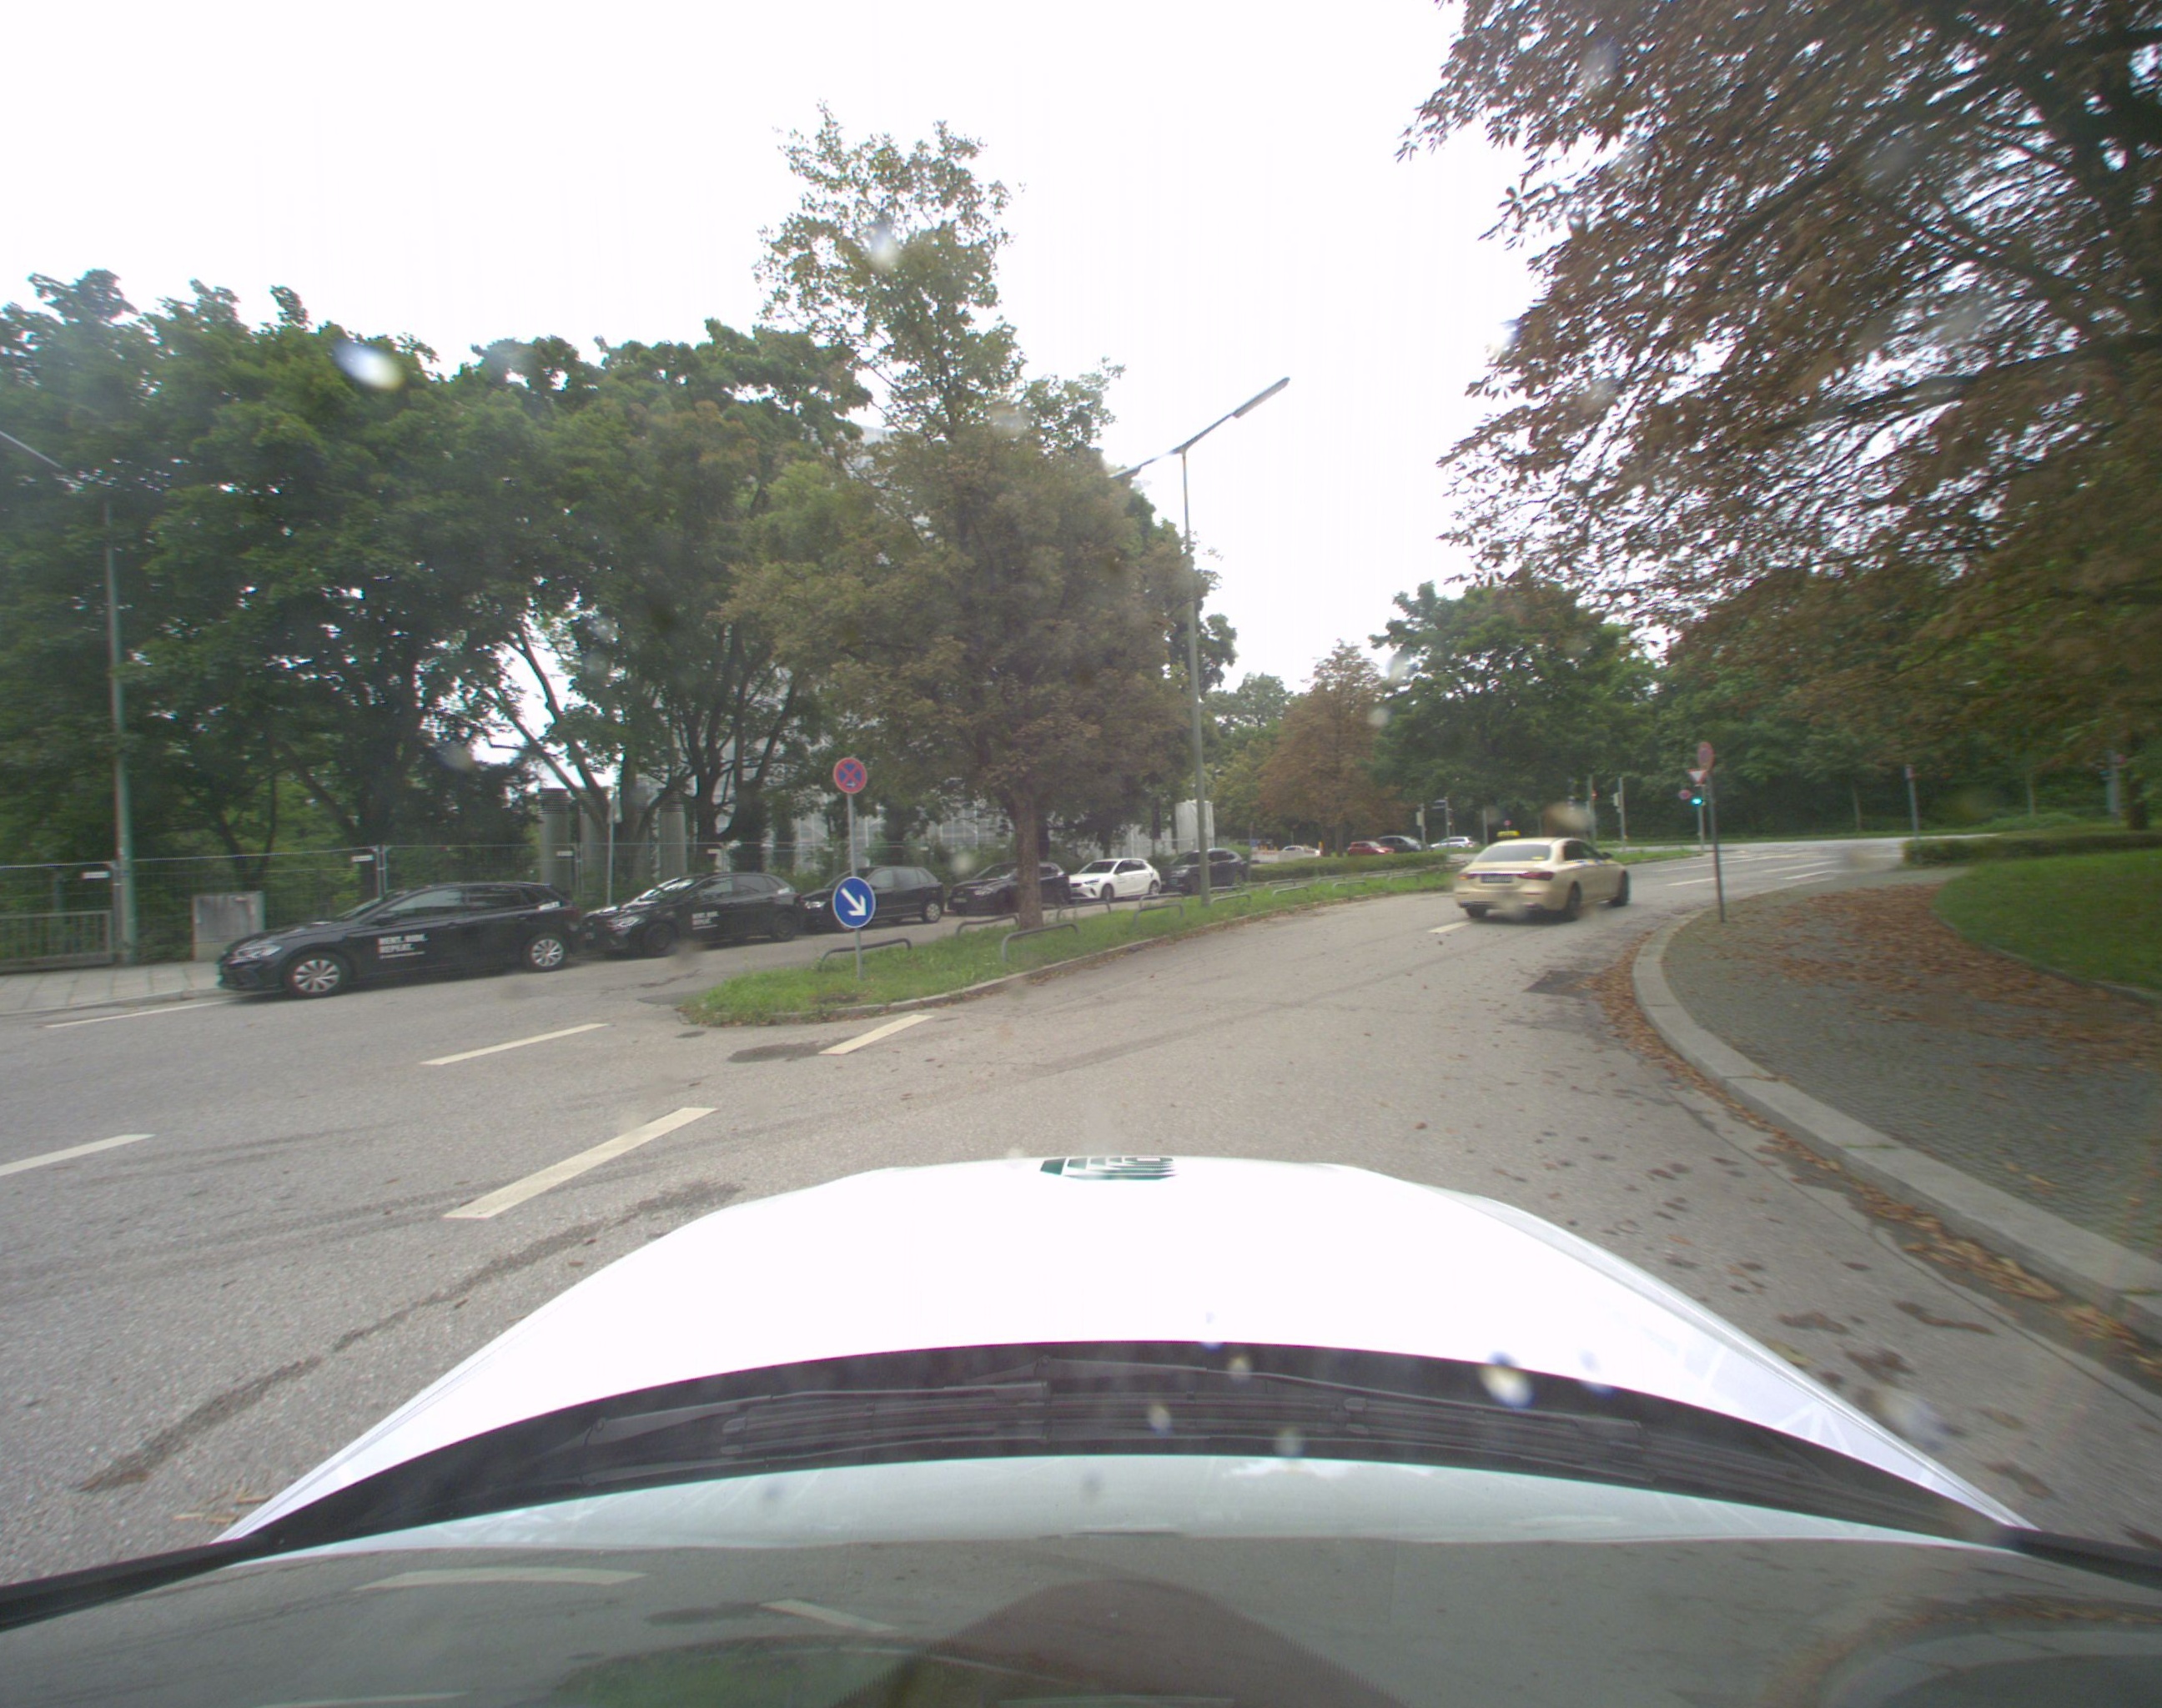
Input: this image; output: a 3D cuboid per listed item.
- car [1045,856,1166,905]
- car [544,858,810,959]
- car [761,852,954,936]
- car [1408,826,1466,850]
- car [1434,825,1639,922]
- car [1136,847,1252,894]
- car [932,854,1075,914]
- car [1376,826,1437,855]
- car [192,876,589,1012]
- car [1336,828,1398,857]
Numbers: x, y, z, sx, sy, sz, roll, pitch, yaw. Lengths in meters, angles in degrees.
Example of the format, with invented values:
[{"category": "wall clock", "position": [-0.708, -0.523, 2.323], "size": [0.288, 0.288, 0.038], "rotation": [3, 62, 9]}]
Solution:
[{"category": "car", "position": [0.911, 0.834, 27.151], "size": [1.778, 1.383, 4.245], "rotation": [-4, -1, 38]}, {"category": "car", "position": [-7.483, 0.921, 15.441], "size": [1.974, 1.541, 4.026], "rotation": [-2, 0, 36]}, {"category": "car", "position": [-5.158, 0.849, 19.270], "size": [1.974, 1.706, 4.026], "rotation": [-1, 0, 36]}, {"category": "car", "position": [29.818, -1.337, 68.314], "size": [2.006, 1.750, 4.085], "rotation": [-3, 0, -30]}, {"category": "car", "position": [8.823, 0.292, 15.569], "size": [4.880, 1.545, 1.871], "rotation": [-2, 0, -42]}, {"category": "car", "position": [4.276, 0.610, 30.451], "size": [4.421, 1.606, 1.868], "rotation": [0, -3, -43]}, {"category": "car", "position": [-2.120, 0.823, 23.322], "size": [1.816, 1.461, 4.032], "rotation": [-4, -1, 36]}, {"category": "car", "position": [25.670, -1.054, 64.351], "size": [2.009, 2.013, 3.957], "rotation": [-2, 0, -35]}, {"category": "car", "position": [-9.885, 1.138, 11.958], "size": [1.974, 1.432, 4.069], "rotation": [-1, 1, 36]}, {"category": "car", "position": [22.355, -0.881, 63.699], "size": [2.009, 2.013, 4.112], "rotation": [-2, 0, -35]}]
